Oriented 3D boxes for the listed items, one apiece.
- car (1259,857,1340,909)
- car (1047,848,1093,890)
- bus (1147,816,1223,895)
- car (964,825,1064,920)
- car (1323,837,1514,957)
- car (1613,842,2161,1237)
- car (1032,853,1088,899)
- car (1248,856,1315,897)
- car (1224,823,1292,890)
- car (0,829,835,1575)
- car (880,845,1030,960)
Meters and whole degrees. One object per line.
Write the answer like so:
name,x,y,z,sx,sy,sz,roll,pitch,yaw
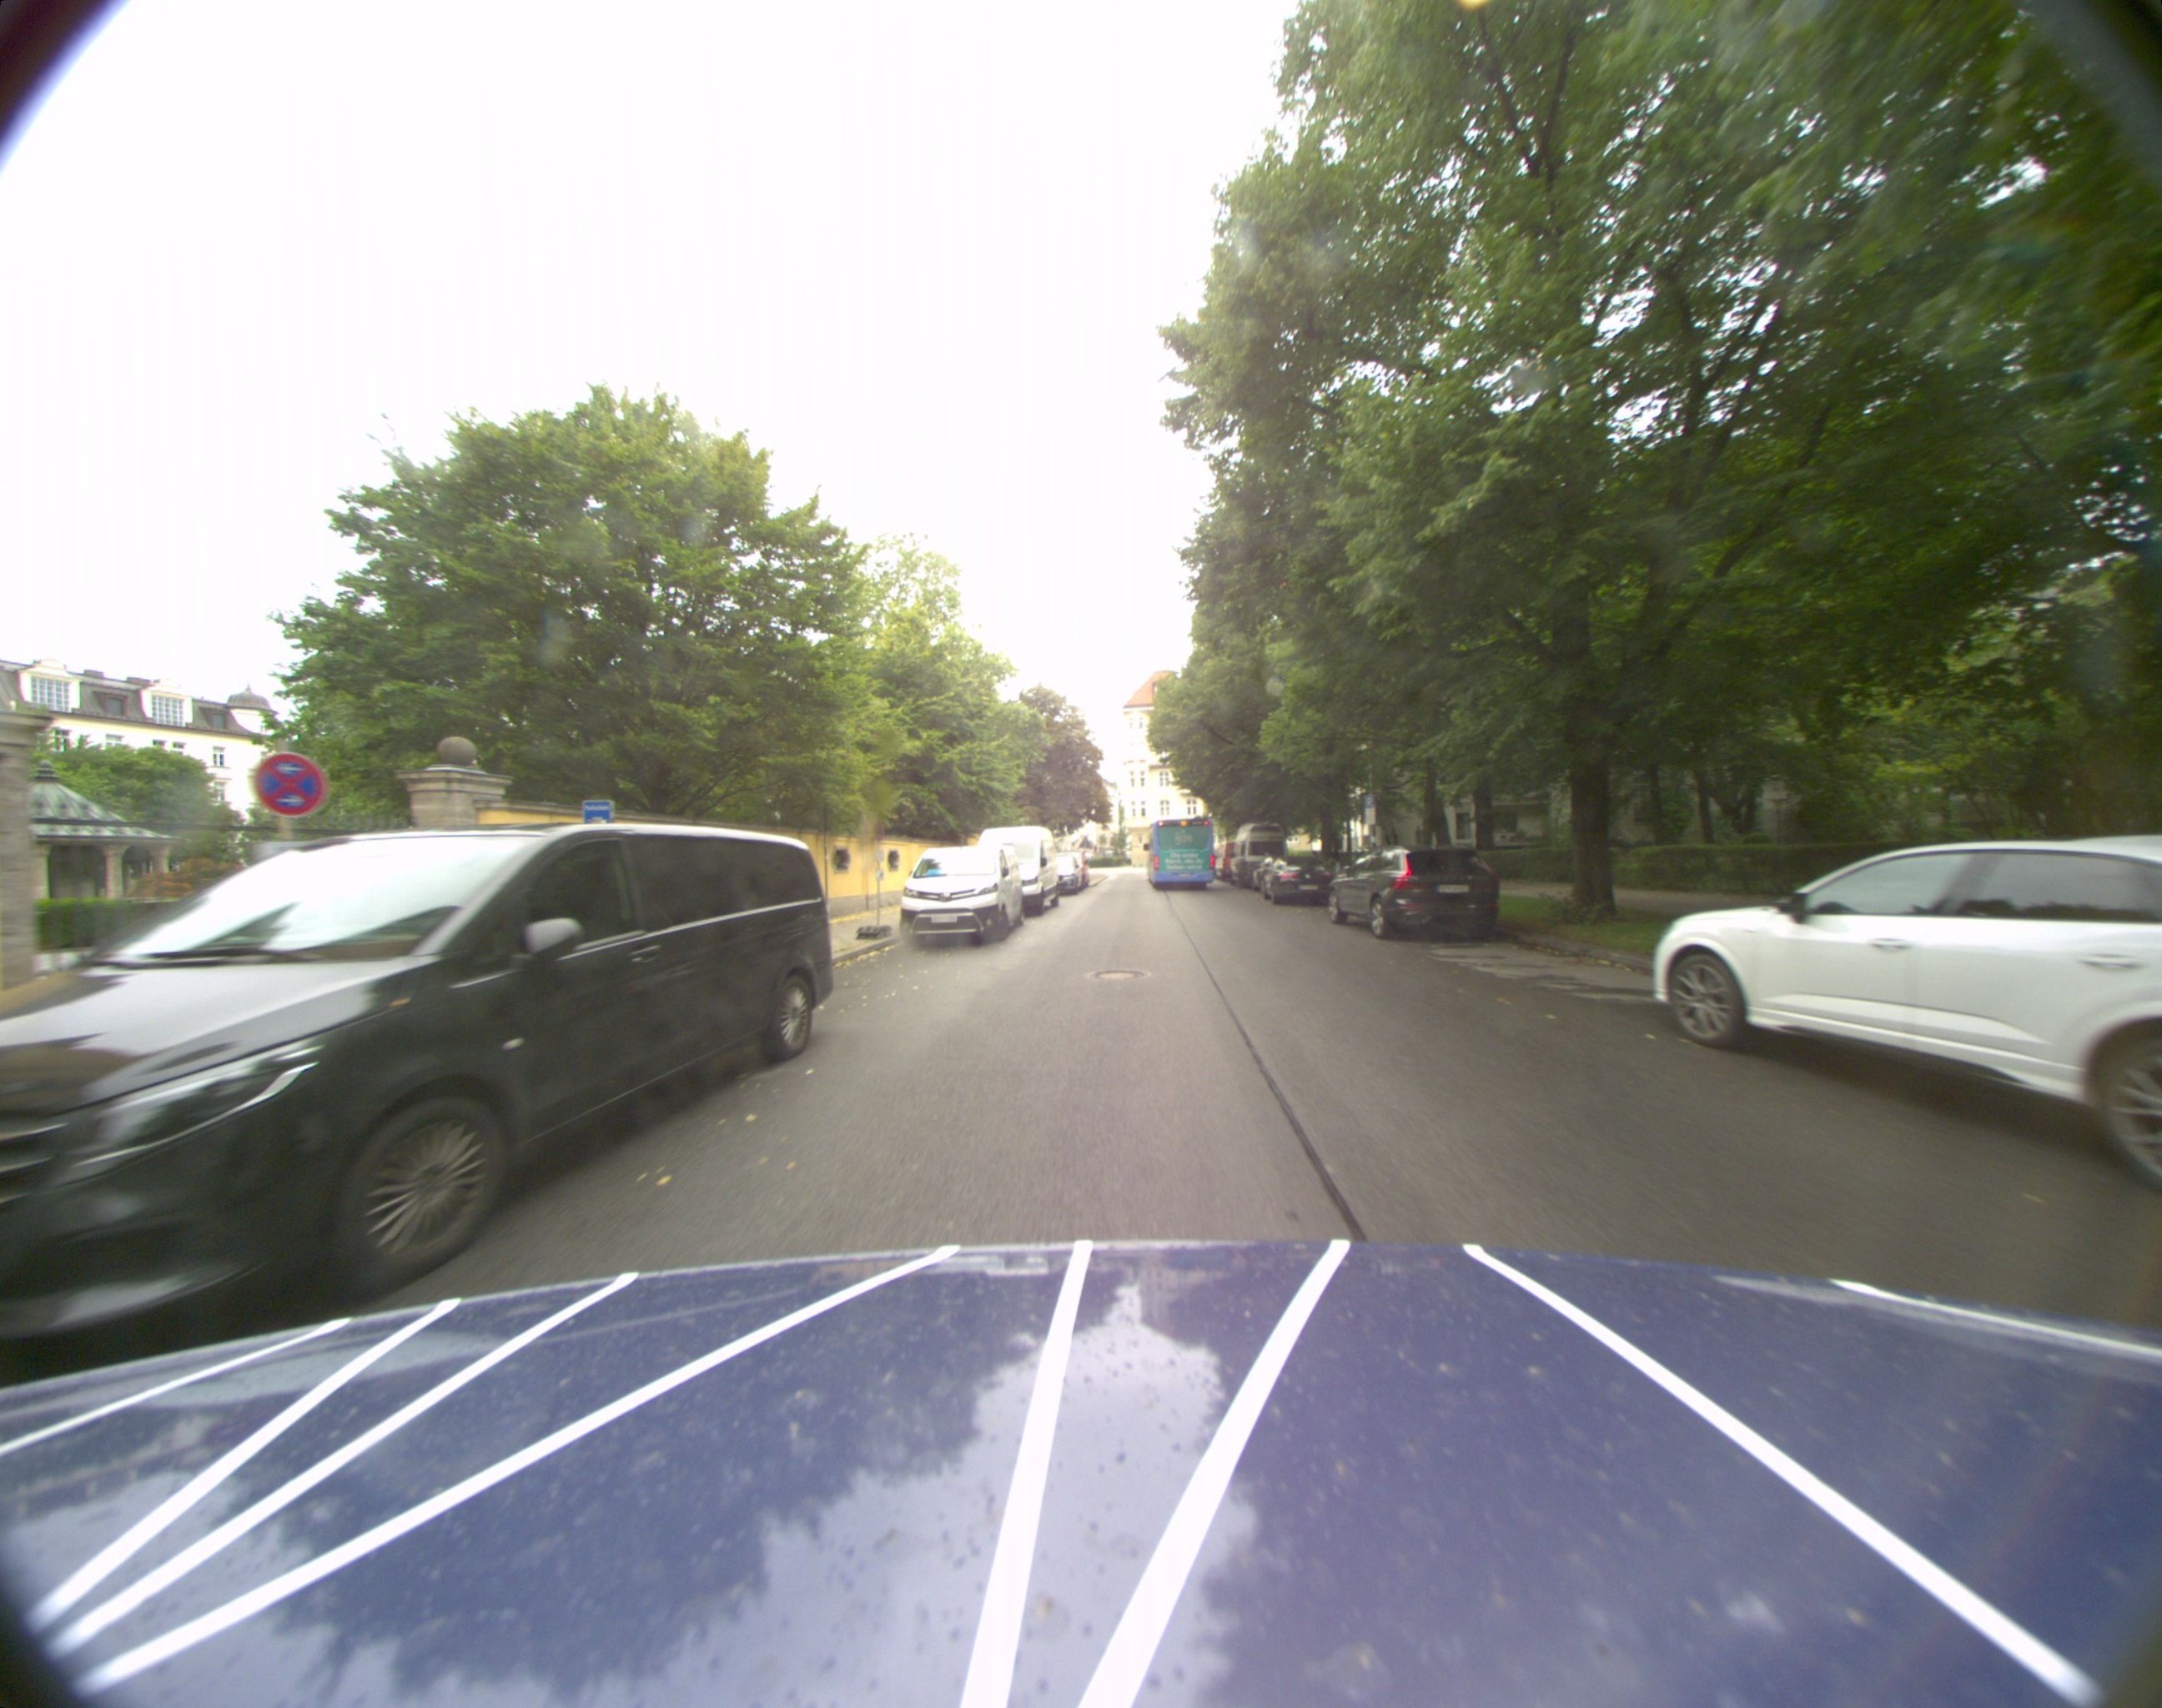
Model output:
car,6.700,0.840,23.750,1.793,1.429,4.554,-1,0,8
car,-0.491,0.709,38.463,1.863,1.956,5.446,-1,0,4
bus,5.117,-0.103,40.802,2.866,3.220,18.428,-1,1,4
car,-1.851,0.449,22.993,2.100,2.473,5.740,-1,1,4
car,6.046,0.661,14.276,1.788,1.866,4.549,-1,1,3
car,5.396,0.751,4.276,1.788,1.588,4.585,-2,0,3
car,-0.822,0.890,32.930,1.863,1.731,4.604,-3,0,4
car,7.684,0.835,29.491,1.793,1.429,4.580,-1,0,6
car,8.179,0.044,35.693,1.949,2.838,6.236,-2,1,3
car,-3.334,0.870,4.415,1.875,1.858,4.987,-1,0,3
car,-2.360,0.834,15.765,2.018,1.895,5.164,-3,0,2
